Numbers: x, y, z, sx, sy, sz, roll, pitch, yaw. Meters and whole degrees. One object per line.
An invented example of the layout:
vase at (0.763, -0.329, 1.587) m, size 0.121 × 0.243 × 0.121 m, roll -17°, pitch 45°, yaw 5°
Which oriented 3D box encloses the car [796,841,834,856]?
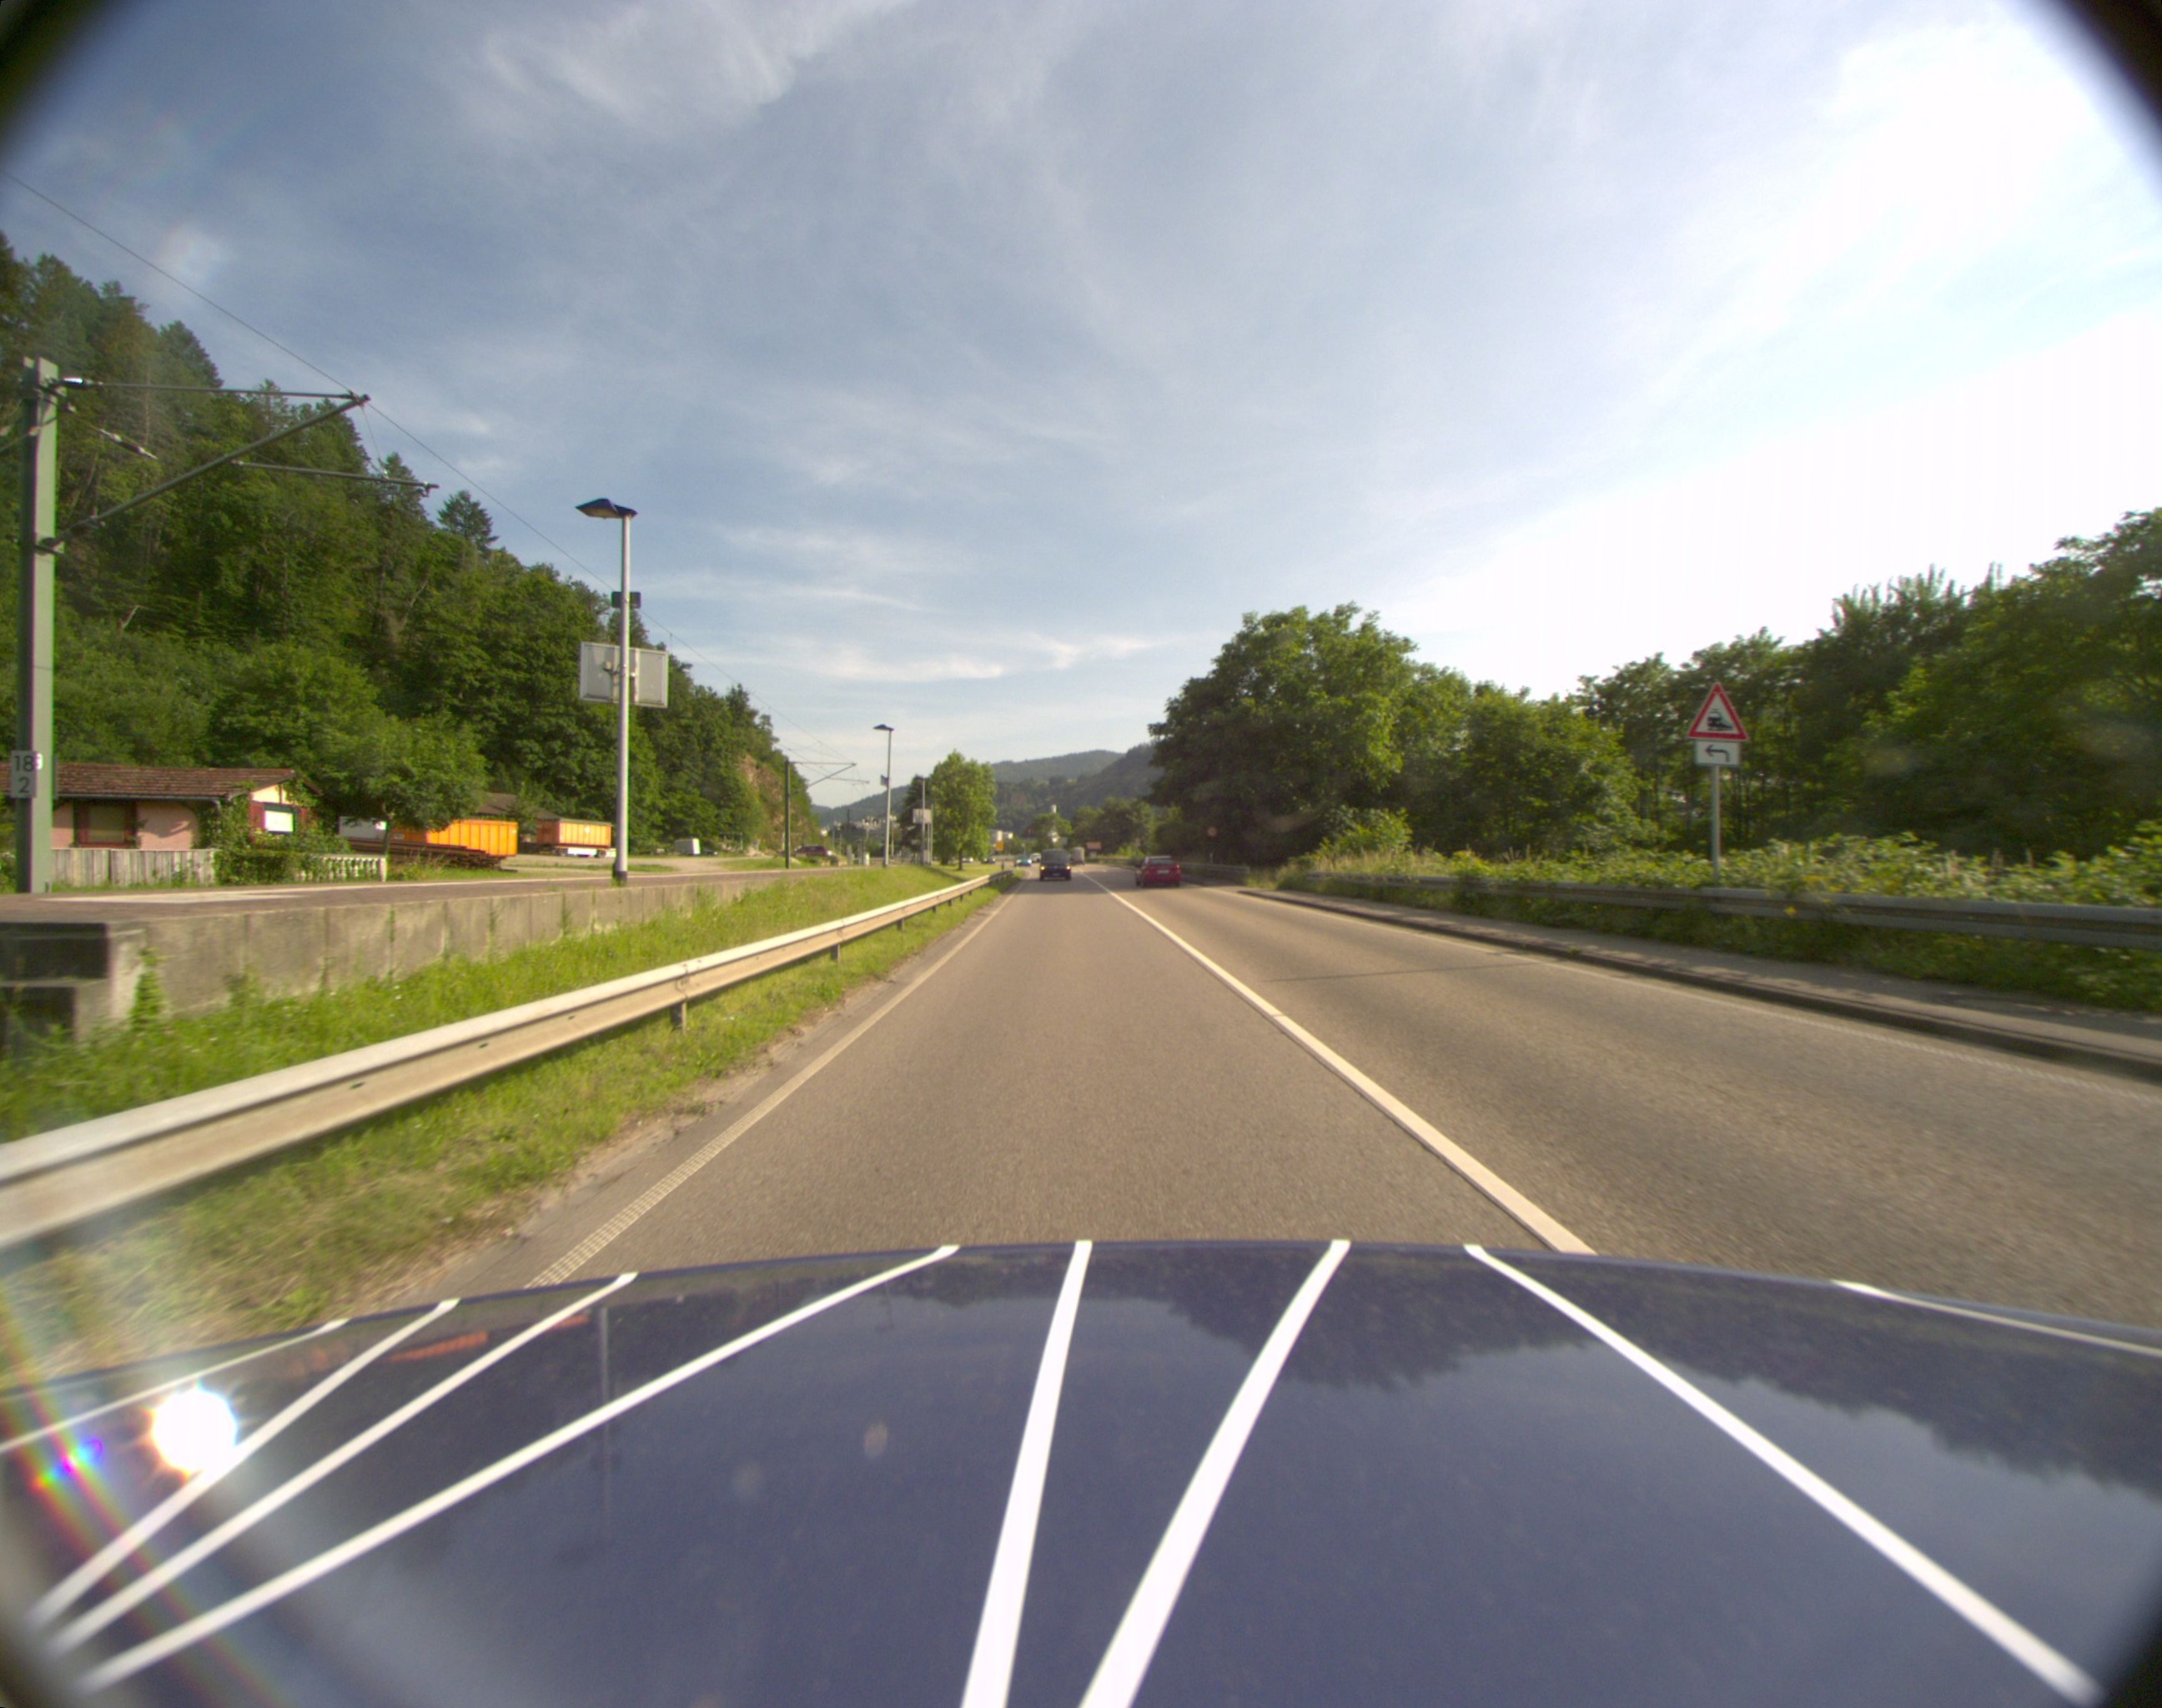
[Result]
car at (-38.544, -0.751, 110.299) m, size 4.976 × 2.002 × 1.998 m, roll -2°, pitch 1°, yaw -12°

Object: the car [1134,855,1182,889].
car at (3.461, 0.774, 34.884) m, size 1.637 × 1.341 × 4.107 m, roll -2°, pitch 1°, yaw -2°

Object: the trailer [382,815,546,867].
trailer at (-40.186, -0.845, 50.120) m, size 2.735 × 3.007 × 9.214 m, roll -2°, pitch 1°, yaw 3°

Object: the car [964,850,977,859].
car at (-21.561, 0.171, 148.343) m, size 1.888 × 1.735 × 4.171 m, roll 1°, pitch 0°, yaw -18°

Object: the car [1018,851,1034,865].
car at (-7.061, 0.493, 97.160) m, size 1.885 × 1.735 × 4.177 m, roll -1°, pitch 1°, yaw -2°

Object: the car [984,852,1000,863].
car at (-15.010, 0.528, 127.648) m, size 1.888 × 1.735 × 4.172 m, roll 1°, pitch 0°, yaw -17°

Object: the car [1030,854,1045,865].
car at (-7.101, 0.861, 123.744) m, size 1.887 × 1.735 × 4.174 m, roll -1°, pitch -1°, yaw -13°

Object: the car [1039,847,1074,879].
car at (-1.511, 0.522, 47.705) m, size 2.018 × 1.905 × 4.311 m, roll -1°, pitch 1°, yaw -1°

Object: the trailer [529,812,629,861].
trailer at (-49.372, -1.727, 75.106) m, size 2.734 × 4.456 × 9.216 m, roll -2°, pitch 1°, yaw 7°

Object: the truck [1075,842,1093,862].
truck at (0.329, -0.219, 91.027) m, size 1.885 × 2.272 × 4.719 m, roll -1°, pitch 0°, yaw -3°
